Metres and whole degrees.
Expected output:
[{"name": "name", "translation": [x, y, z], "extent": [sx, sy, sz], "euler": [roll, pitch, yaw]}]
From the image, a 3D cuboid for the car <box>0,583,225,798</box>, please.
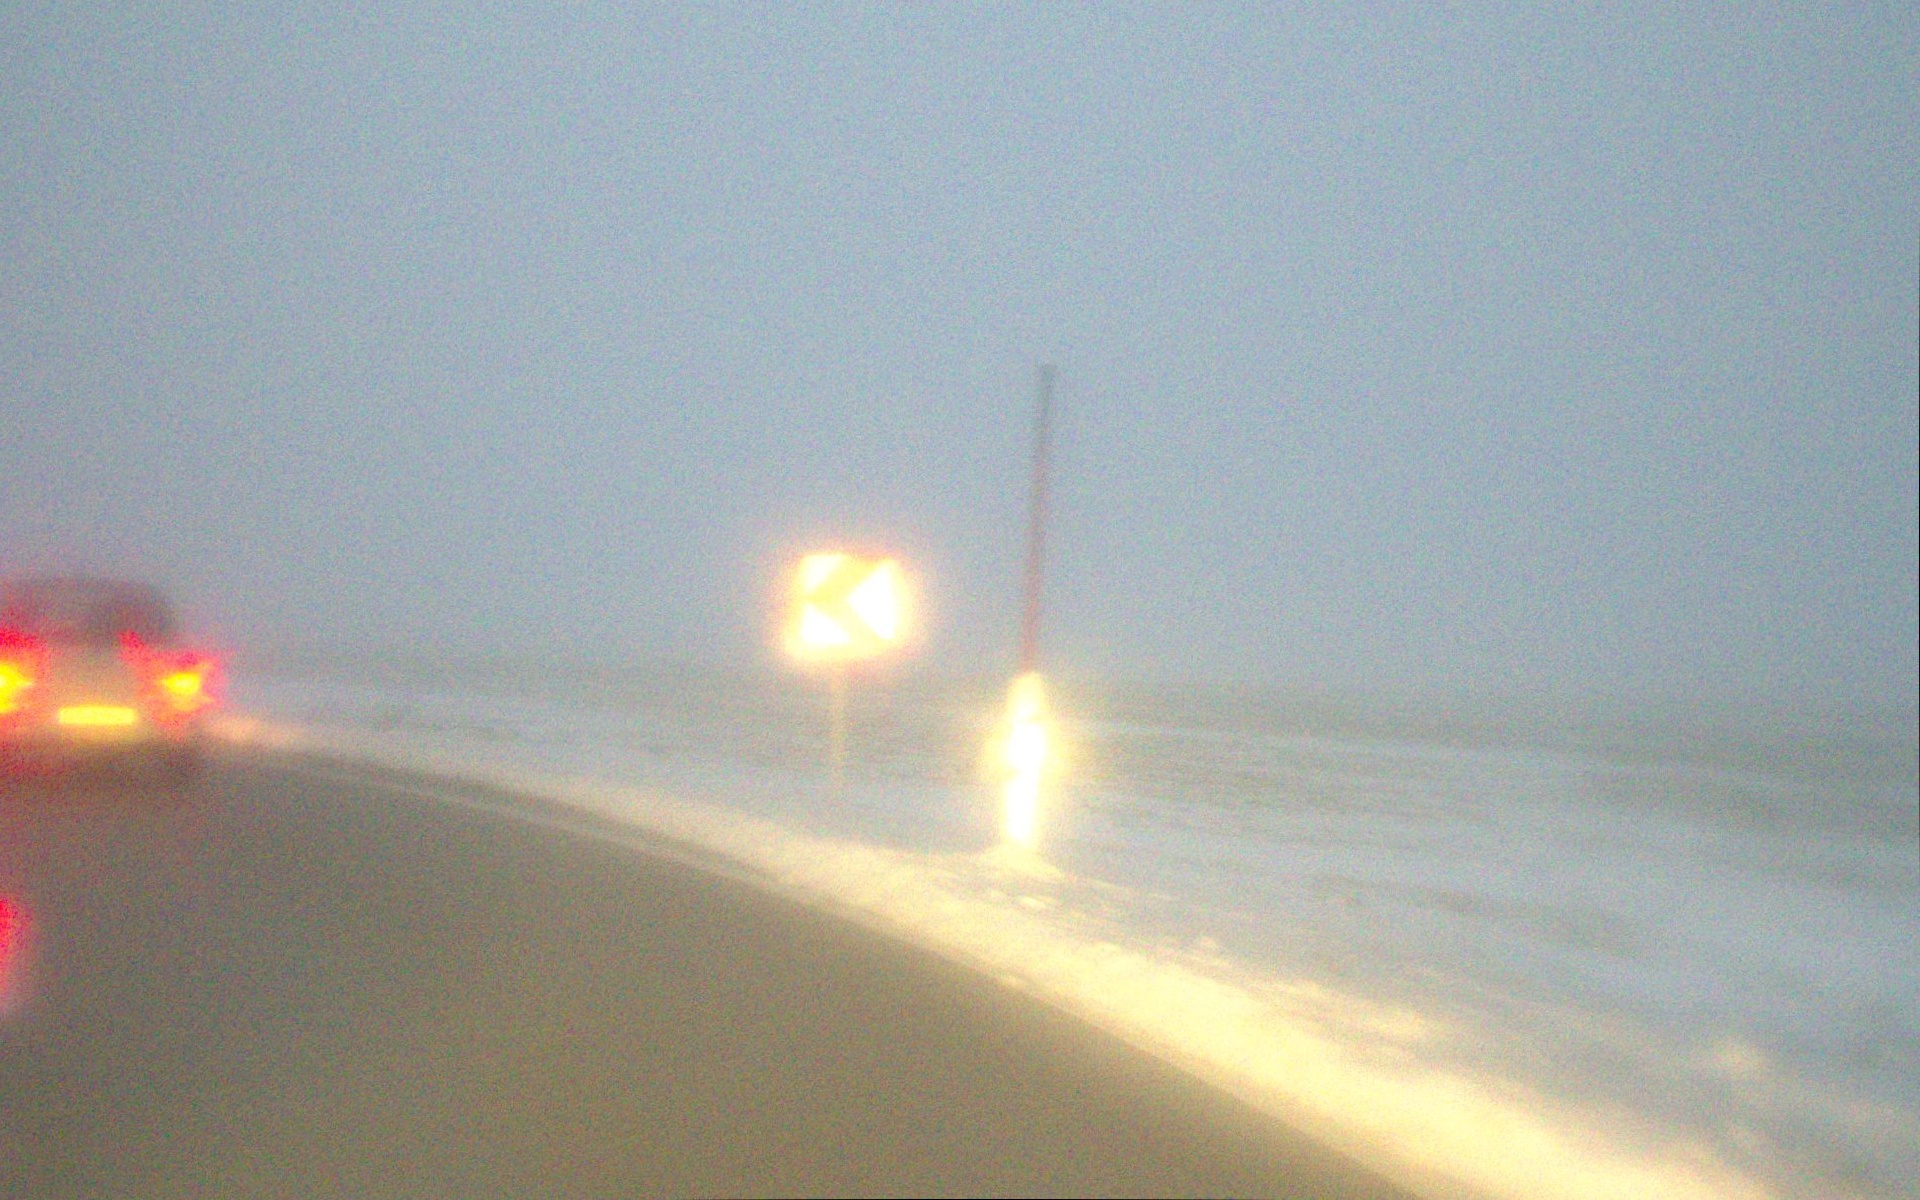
[{"name": "car", "translation": [-6.244, 0.586, 24.073], "extent": [1.945, 1.376, 4.001], "euler": [0, 0, -15]}]
